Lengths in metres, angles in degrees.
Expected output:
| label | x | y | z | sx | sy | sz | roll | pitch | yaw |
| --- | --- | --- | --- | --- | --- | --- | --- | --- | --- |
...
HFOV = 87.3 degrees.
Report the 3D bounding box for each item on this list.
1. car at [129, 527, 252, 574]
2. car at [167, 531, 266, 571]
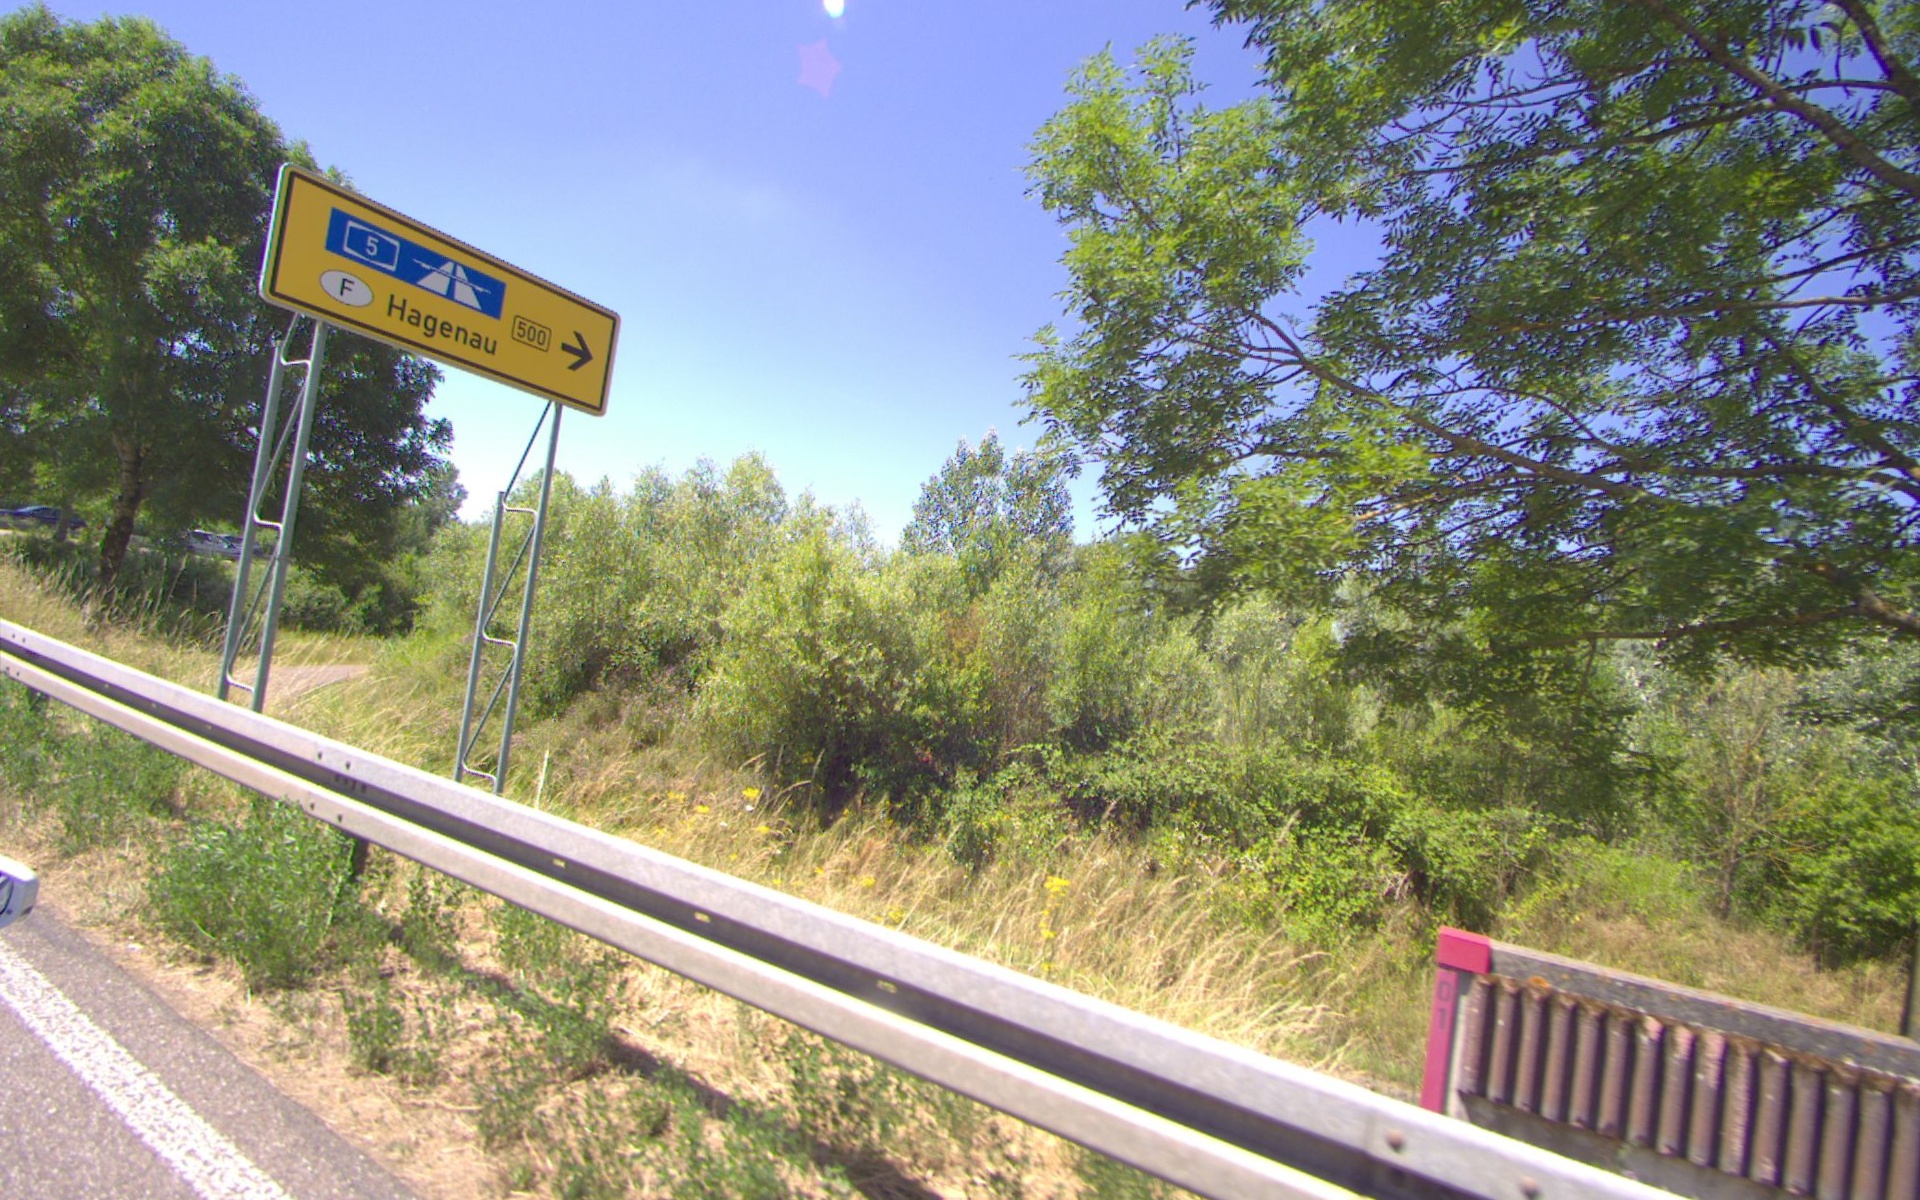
| label | x | y | z | sx | sy | sz | roll | pitch | yaw |
| --- | --- | --- | --- | --- | --- | --- | --- | --- | --- |
| car | -40.251 | -2.557 | 52.777 | 1.898 | 1.650 | 4.668 | 7 | -2 | 21 |
| car | -44.441 | -2.918 | 60.225 | 1.901 | 1.650 | 4.236 | 7 | -3 | 29 |
